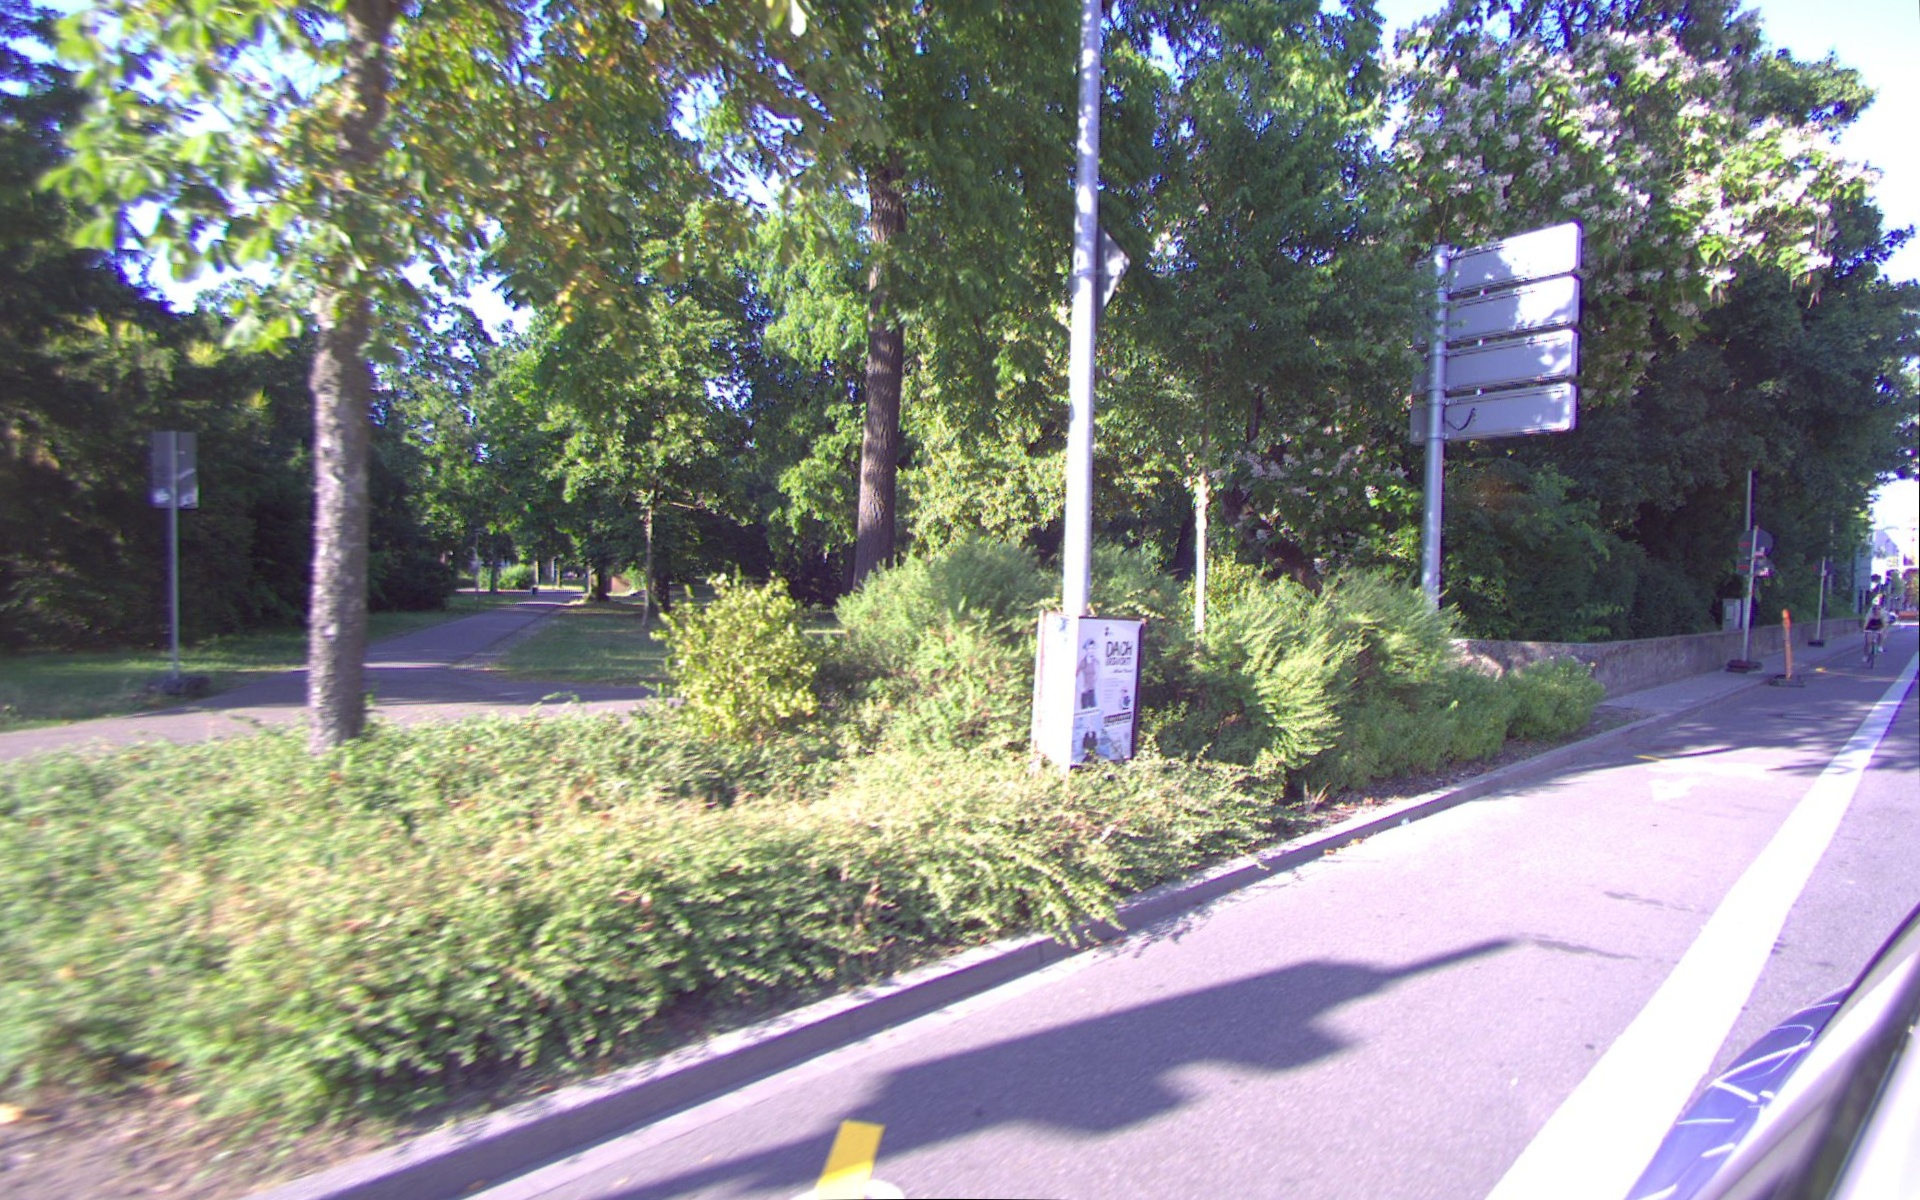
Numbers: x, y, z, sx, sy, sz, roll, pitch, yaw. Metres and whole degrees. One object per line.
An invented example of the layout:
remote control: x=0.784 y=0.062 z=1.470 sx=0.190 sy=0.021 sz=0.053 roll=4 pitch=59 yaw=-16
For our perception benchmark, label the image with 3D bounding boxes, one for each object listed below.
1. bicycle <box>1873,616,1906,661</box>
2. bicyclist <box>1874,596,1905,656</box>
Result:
bicycle: x=22.884 y=0.928 z=24.908 sx=1.481 sy=1.037 sz=0.505 roll=0 pitch=1 yaw=-45
bicyclist: x=22.900 y=0.630 z=24.934 sx=0.515 sy=1.424 sz=0.792 roll=2 pitch=1 yaw=45
